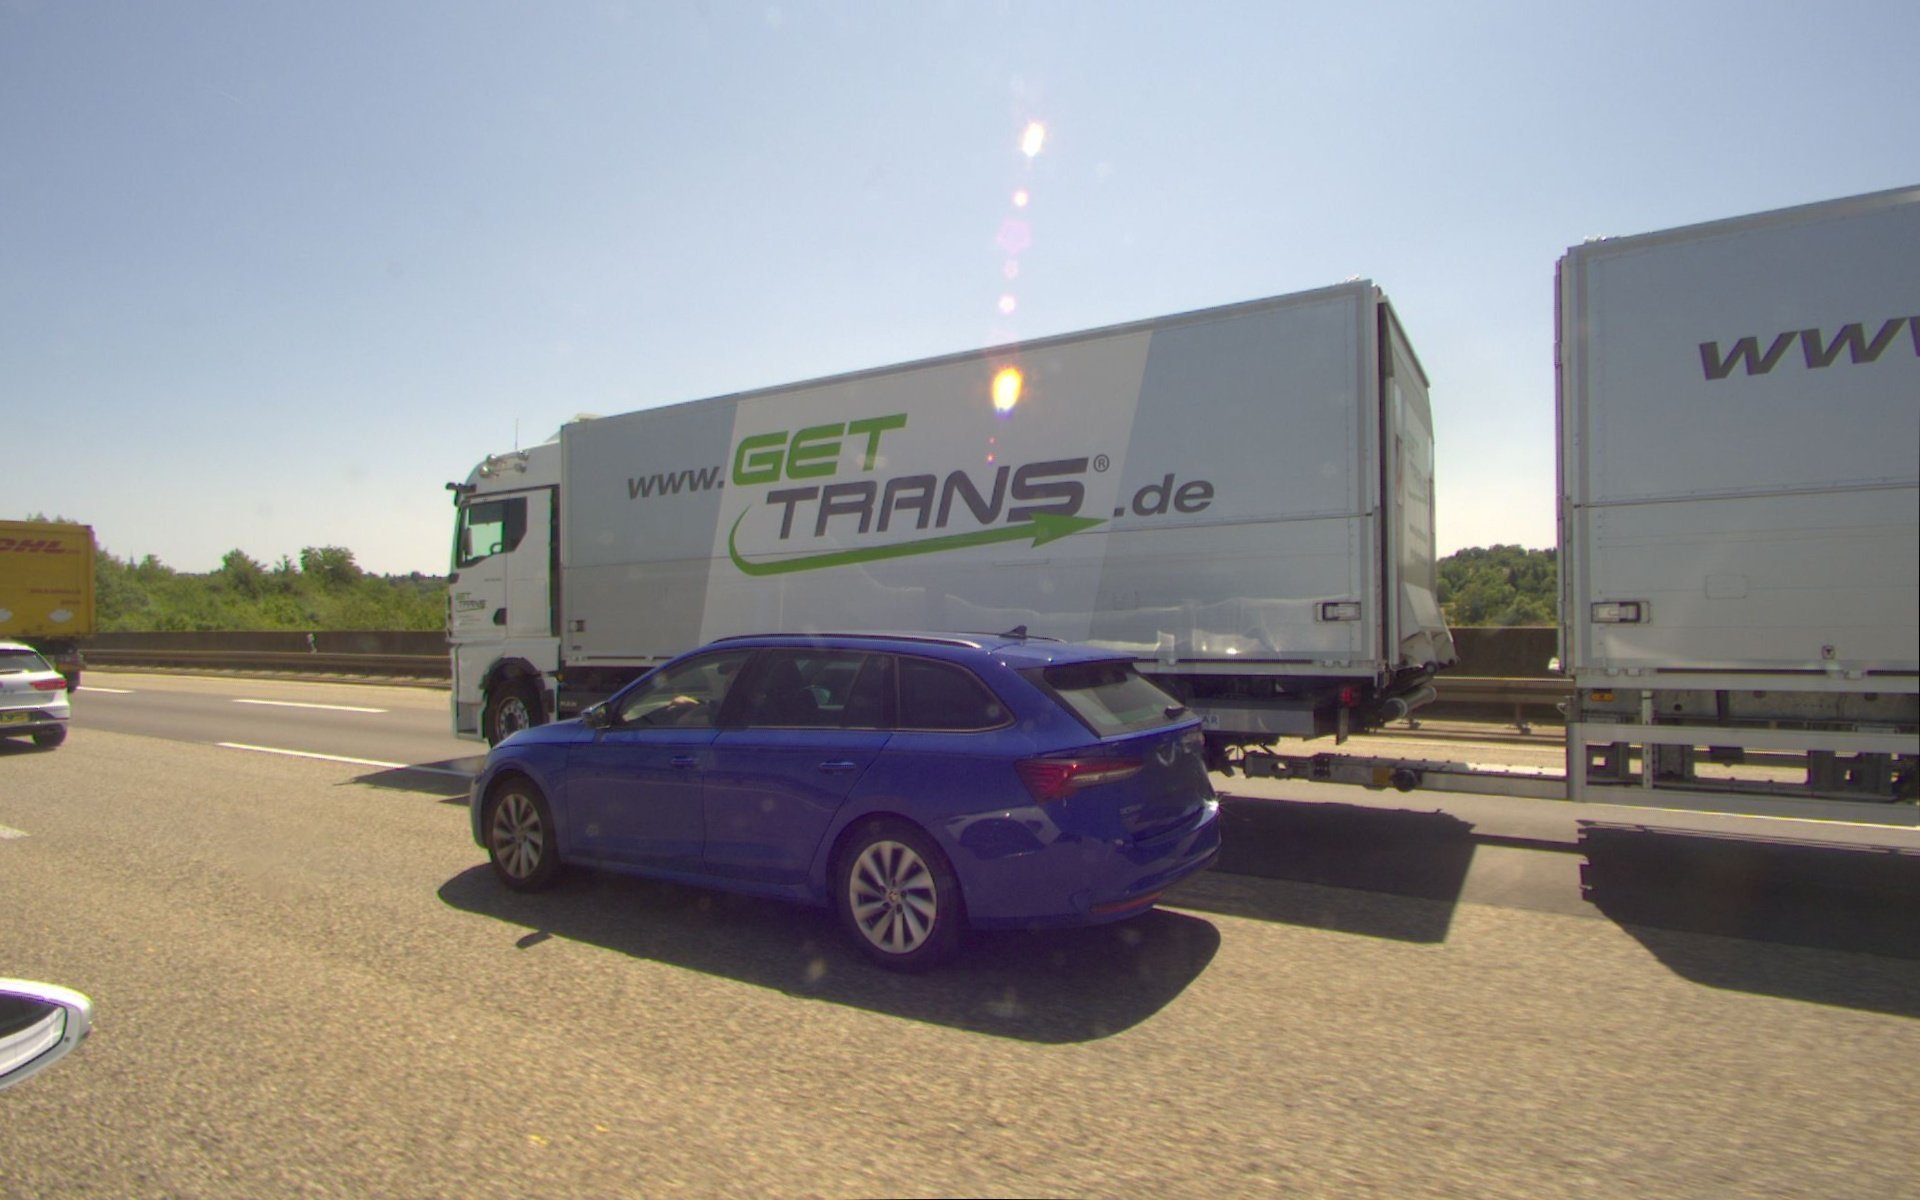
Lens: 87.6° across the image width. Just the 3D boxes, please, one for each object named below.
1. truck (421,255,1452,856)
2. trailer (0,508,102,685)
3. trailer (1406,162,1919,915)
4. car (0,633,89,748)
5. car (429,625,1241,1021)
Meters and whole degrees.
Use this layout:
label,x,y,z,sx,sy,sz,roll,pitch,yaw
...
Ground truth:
label,x,y,z,sx,sy,sz,roll,pitch,yaw
truck,-1.078,-0.106,10.114,10.615,3.648,2.846,-2,-2,32
trailer,-25.517,0.040,25.821,8.804,4.074,2.697,-2,-2,33
trailer,6.895,-0.287,5.088,8.173,3.640,2.840,-1,-2,32
car,-13.569,1.151,13.421,4.128,1.405,1.778,-1,-1,33
car,-0.878,0.875,5.598,4.435,1.459,1.707,-1,-1,32
